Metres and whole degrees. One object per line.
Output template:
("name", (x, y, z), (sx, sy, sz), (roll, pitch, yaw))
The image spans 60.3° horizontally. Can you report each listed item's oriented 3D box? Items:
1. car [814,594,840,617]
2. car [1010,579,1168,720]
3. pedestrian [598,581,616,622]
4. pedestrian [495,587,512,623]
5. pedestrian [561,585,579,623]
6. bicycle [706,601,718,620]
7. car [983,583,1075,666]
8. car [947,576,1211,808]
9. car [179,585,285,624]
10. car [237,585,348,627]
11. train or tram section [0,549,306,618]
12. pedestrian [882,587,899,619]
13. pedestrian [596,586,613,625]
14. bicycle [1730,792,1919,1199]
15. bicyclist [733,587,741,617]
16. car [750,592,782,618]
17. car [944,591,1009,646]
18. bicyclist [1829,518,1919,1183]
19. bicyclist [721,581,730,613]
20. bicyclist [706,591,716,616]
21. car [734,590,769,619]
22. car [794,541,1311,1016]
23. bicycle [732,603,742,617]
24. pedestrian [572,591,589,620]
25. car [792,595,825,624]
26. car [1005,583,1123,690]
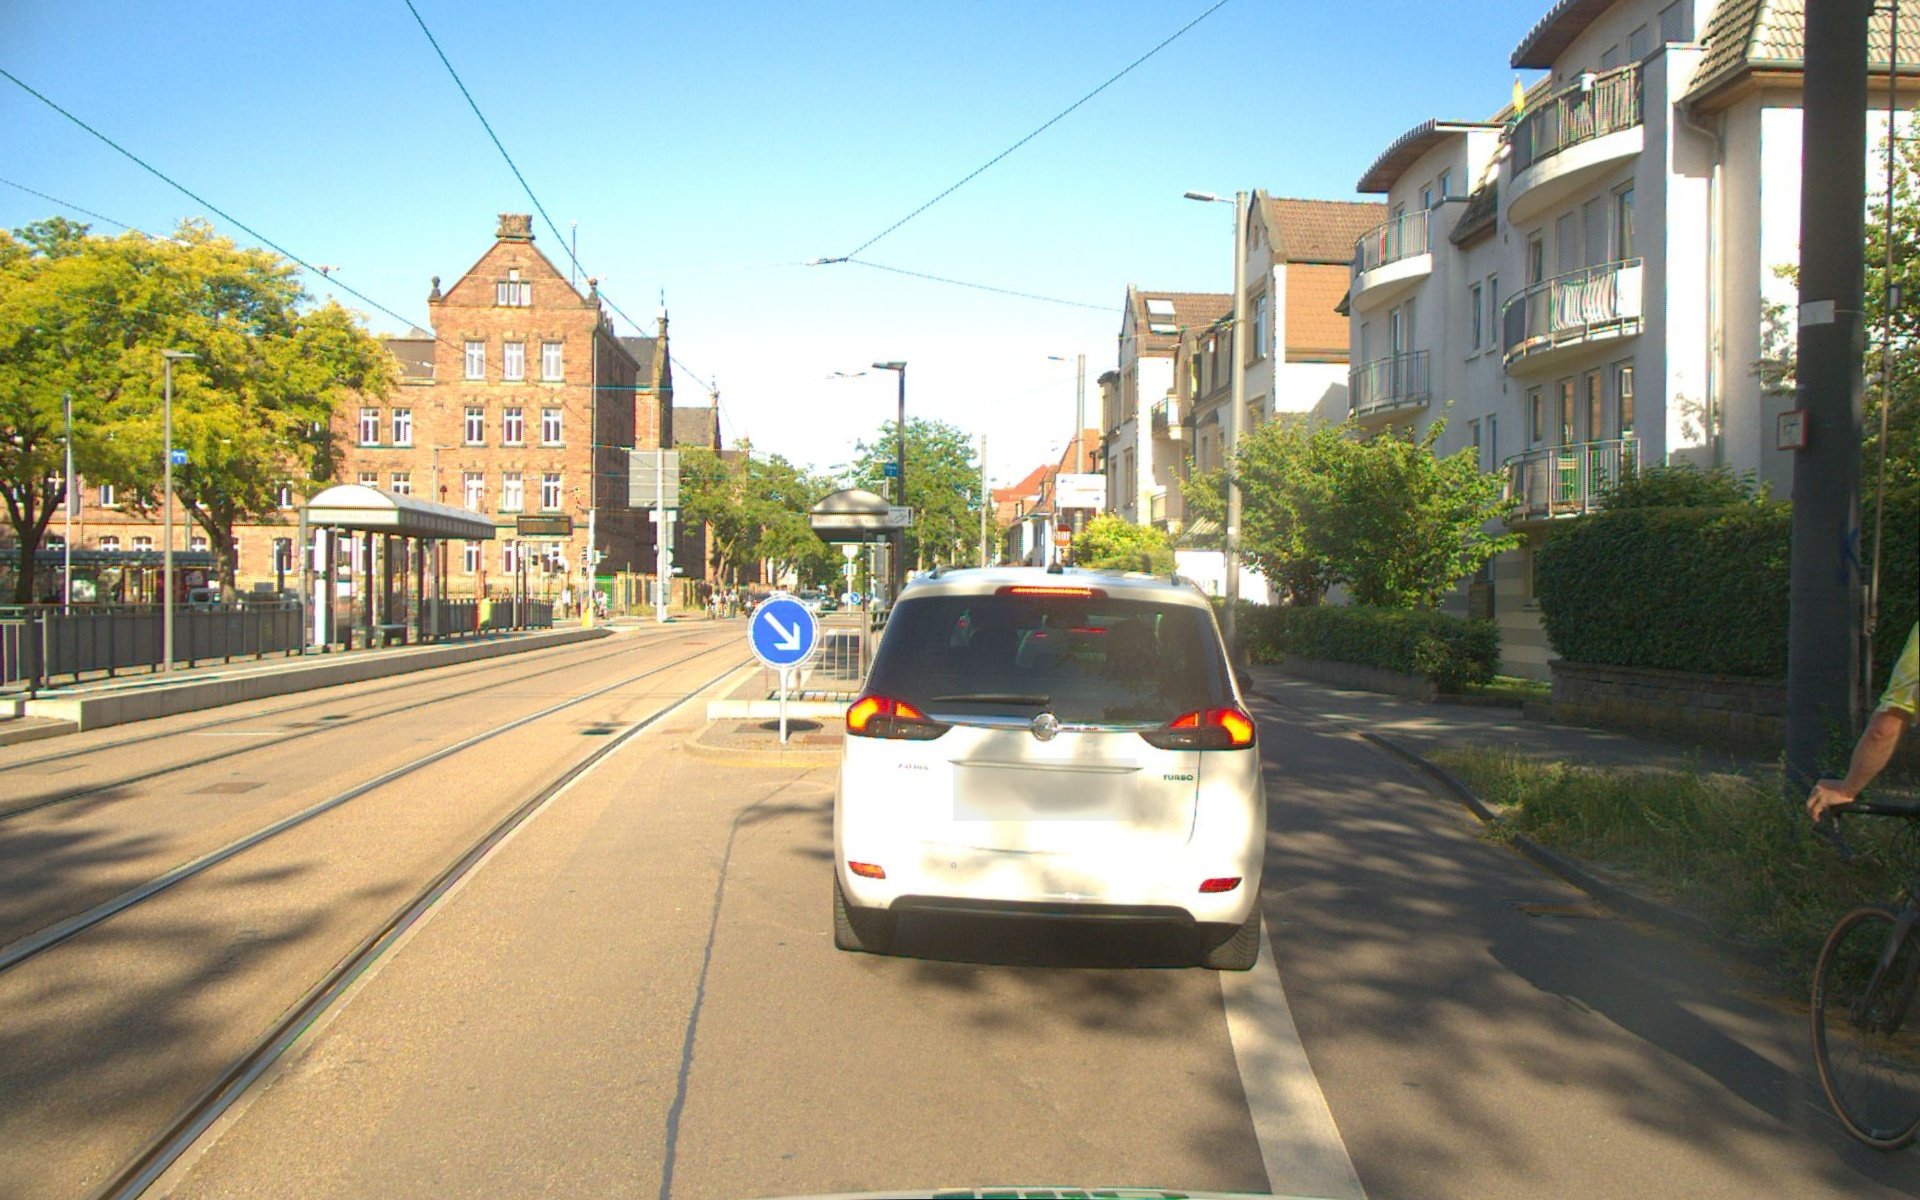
("car", (-10.347, 0.437, 128.899), (1.711, 1.746, 3.999), (1, 0, -1))
("car", (1.746, 0.581, 21.623), (1.866, 1.653, 4.003), (0, 0, 6))
("pedestrian", (-18.079, 0.082, 84.692), (0.782, 2.049, 0.717), (1, -1, -18))
("pedestrian", (-23.200, 0.243, 84.046), (0.754, 1.805, 0.717), (1, -1, -18))
("pedestrian", (-21.396, 0.236, 90.734), (0.679, 2.049, 0.614), (0, -1, 41))
("bicycle", (-15.172, 0.640, 101.158), (0.498, 1.096, 1.738), (1, 0, -1))
("car", (1.445, 0.499, 36.118), (1.868, 1.690, 4.000), (0, 0, 0))
("car", (1.065, 0.643, 13.773), (1.866, 1.625, 4.003), (0, 0, 6))
("car", (-32.444, 0.211, 73.821), (3.908, 1.658, 1.817), (1, 0, -4))
("car", (-28.113, 0.259, 69.747), (3.908, 1.658, 1.817), (1, 0, -4))
("train or tram section", (-40.745, -0.772, 79.424), (17.048, 3.210, 3.343), (0, 0, -6))
("pedestrian", (-4.222, 0.182, 100.339), (0.732, 1.934, 0.803), (1, -1, -27))
("pedestrian", (-18.728, 0.296, 87.053), (0.781, 2.049, 1.042), (1, -1, -15))
("bicycle", (2.767, 1.081, 4.264), (0.662, 0.941, 1.885), (0, 0, -1))
("bicyclist", (-14.997, 0.133, 111.215), (0.478, 2.049, 0.502), (1, -1, -1))
("car", (-13.299, 0.351, 113.498), (1.711, 1.746, 3.999), (1, 0, -1))
("car", (0.503, 0.551, 53.081), (1.869, 1.690, 3.998), (0, 0, -2))
("bicyclist", (2.767, 0.637, 4.256), (0.662, 1.687, 0.745), (0, 0, -1))
("bicyclist", (-15.381, -0.193, 108.519), (0.488, 2.049, 0.572), (0, 0, -1))
("bicyclist", (-15.216, 0.225, 101.107), (0.520, 1.503, 0.572), (1, -1, -1))
("car", (-13.113, 0.282, 104.287), (1.711, 1.746, 3.999), (1, 0, -1))
("car", (0.543, 0.626, 7.999), (1.866, 1.690, 4.003), (0, 0, 6))
("bicycle", (-15.001, 0.673, 111.231), (0.477, 0.988, 1.405), (1, 0, -1))
("pedestrian", (-21.529, 0.321, 93.929), (0.640, 1.640, 0.711), (1, -1, 16))
("car", (-9.384, 0.598, 102.895), (1.711, 1.746, 3.999), (1, 0, -1))
("car", (1.787, 0.573, 28.285), (1.867, 1.690, 4.002), (0, 0, 4))
